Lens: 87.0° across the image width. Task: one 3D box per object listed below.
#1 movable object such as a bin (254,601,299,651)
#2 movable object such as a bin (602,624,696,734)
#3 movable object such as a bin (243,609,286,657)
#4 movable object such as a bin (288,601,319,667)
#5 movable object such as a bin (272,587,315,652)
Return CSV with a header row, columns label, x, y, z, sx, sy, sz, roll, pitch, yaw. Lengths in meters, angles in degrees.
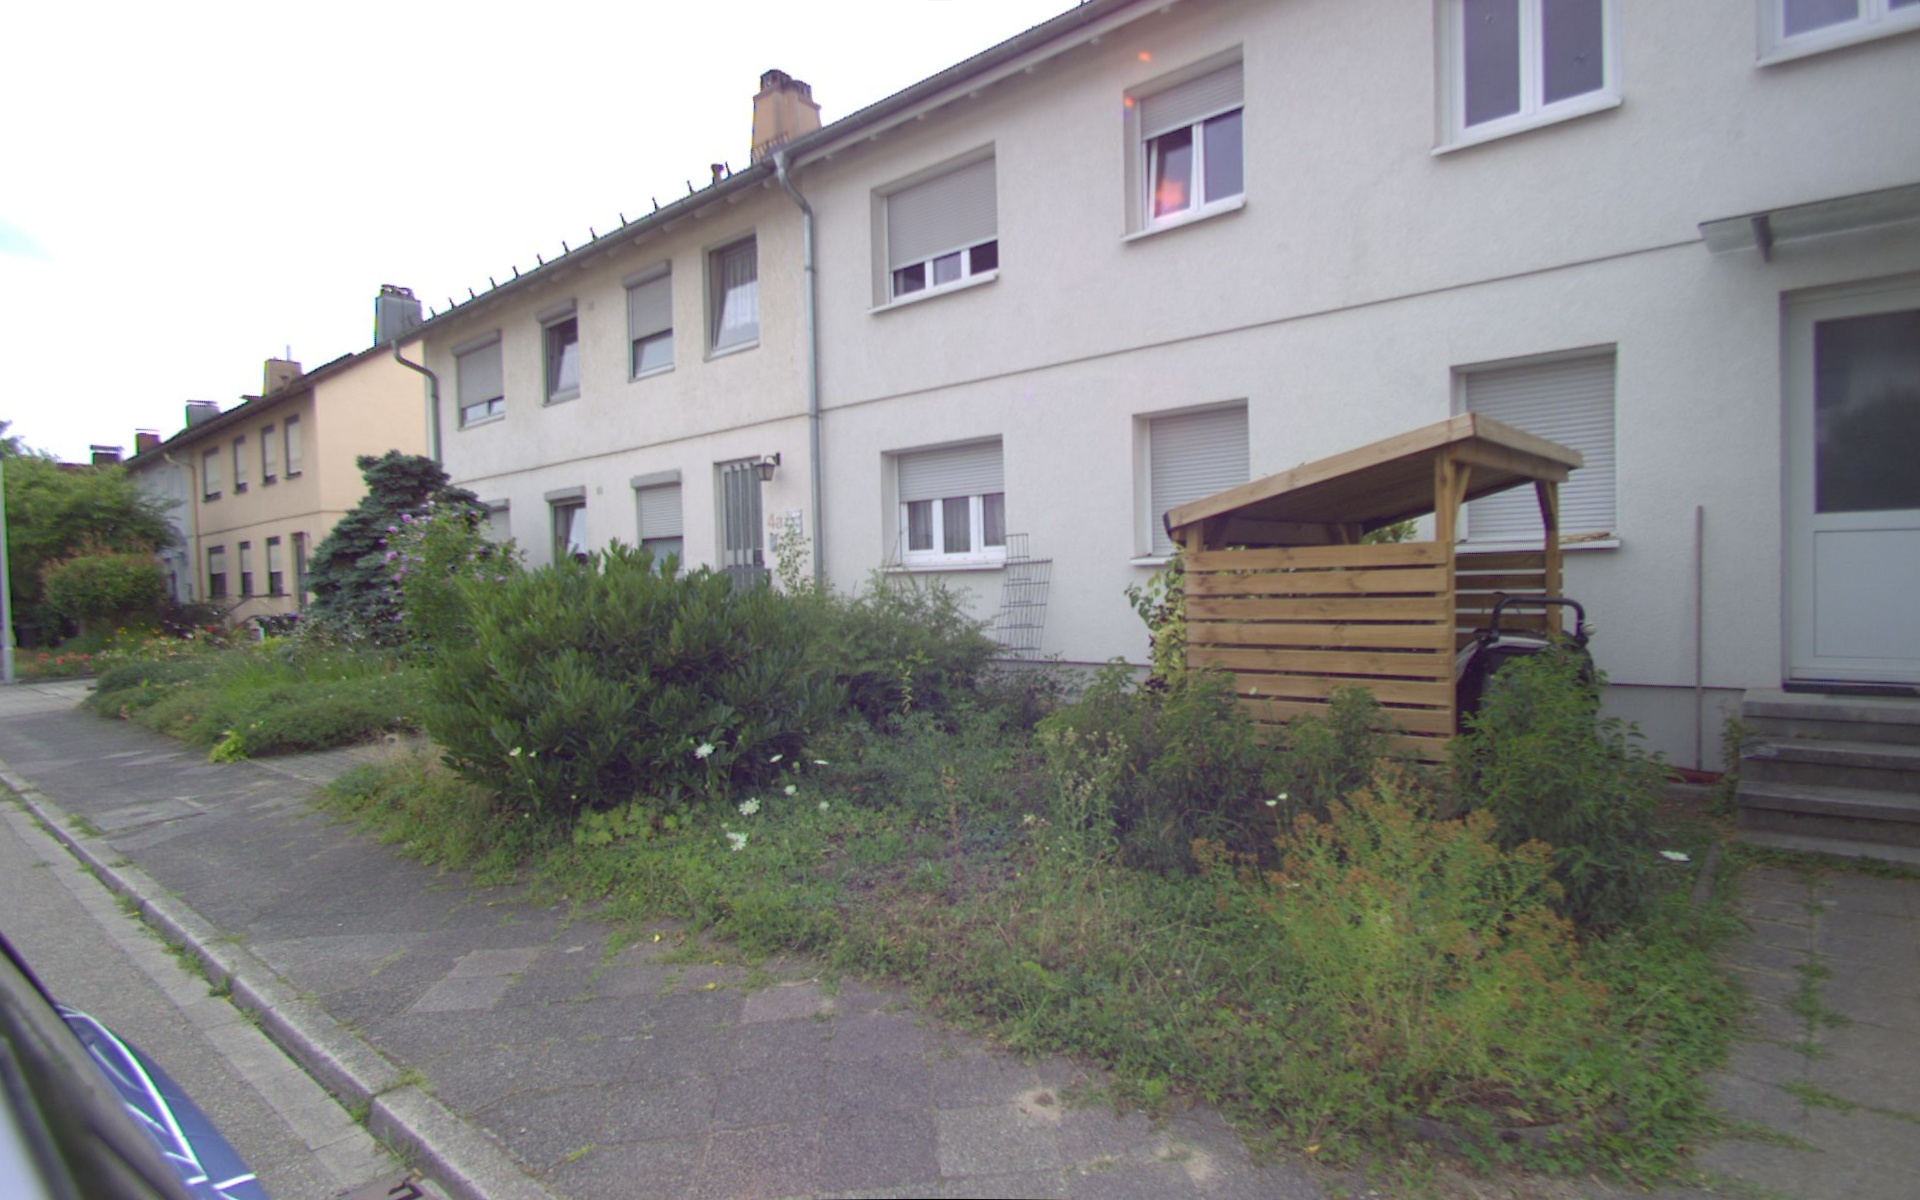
label,x,y,z,sx,sy,sz,roll,pitch,yaw
movable object such as a bin,-14.424,0.540,21.354,0.632,1.029,0.646,-1,0,41
movable object such as a bin,-3.067,0.751,9.986,0.598,1.015,0.668,-1,0,41
movable object such as a bin,-14.908,0.701,21.697,0.541,1.010,0.646,-1,0,41
movable object such as a bin,-14.156,0.718,21.826,0.610,1.395,0.406,-1,0,41
movable object such as a bin,-14.671,0.416,22.274,0.632,1.395,0.646,-1,0,41
